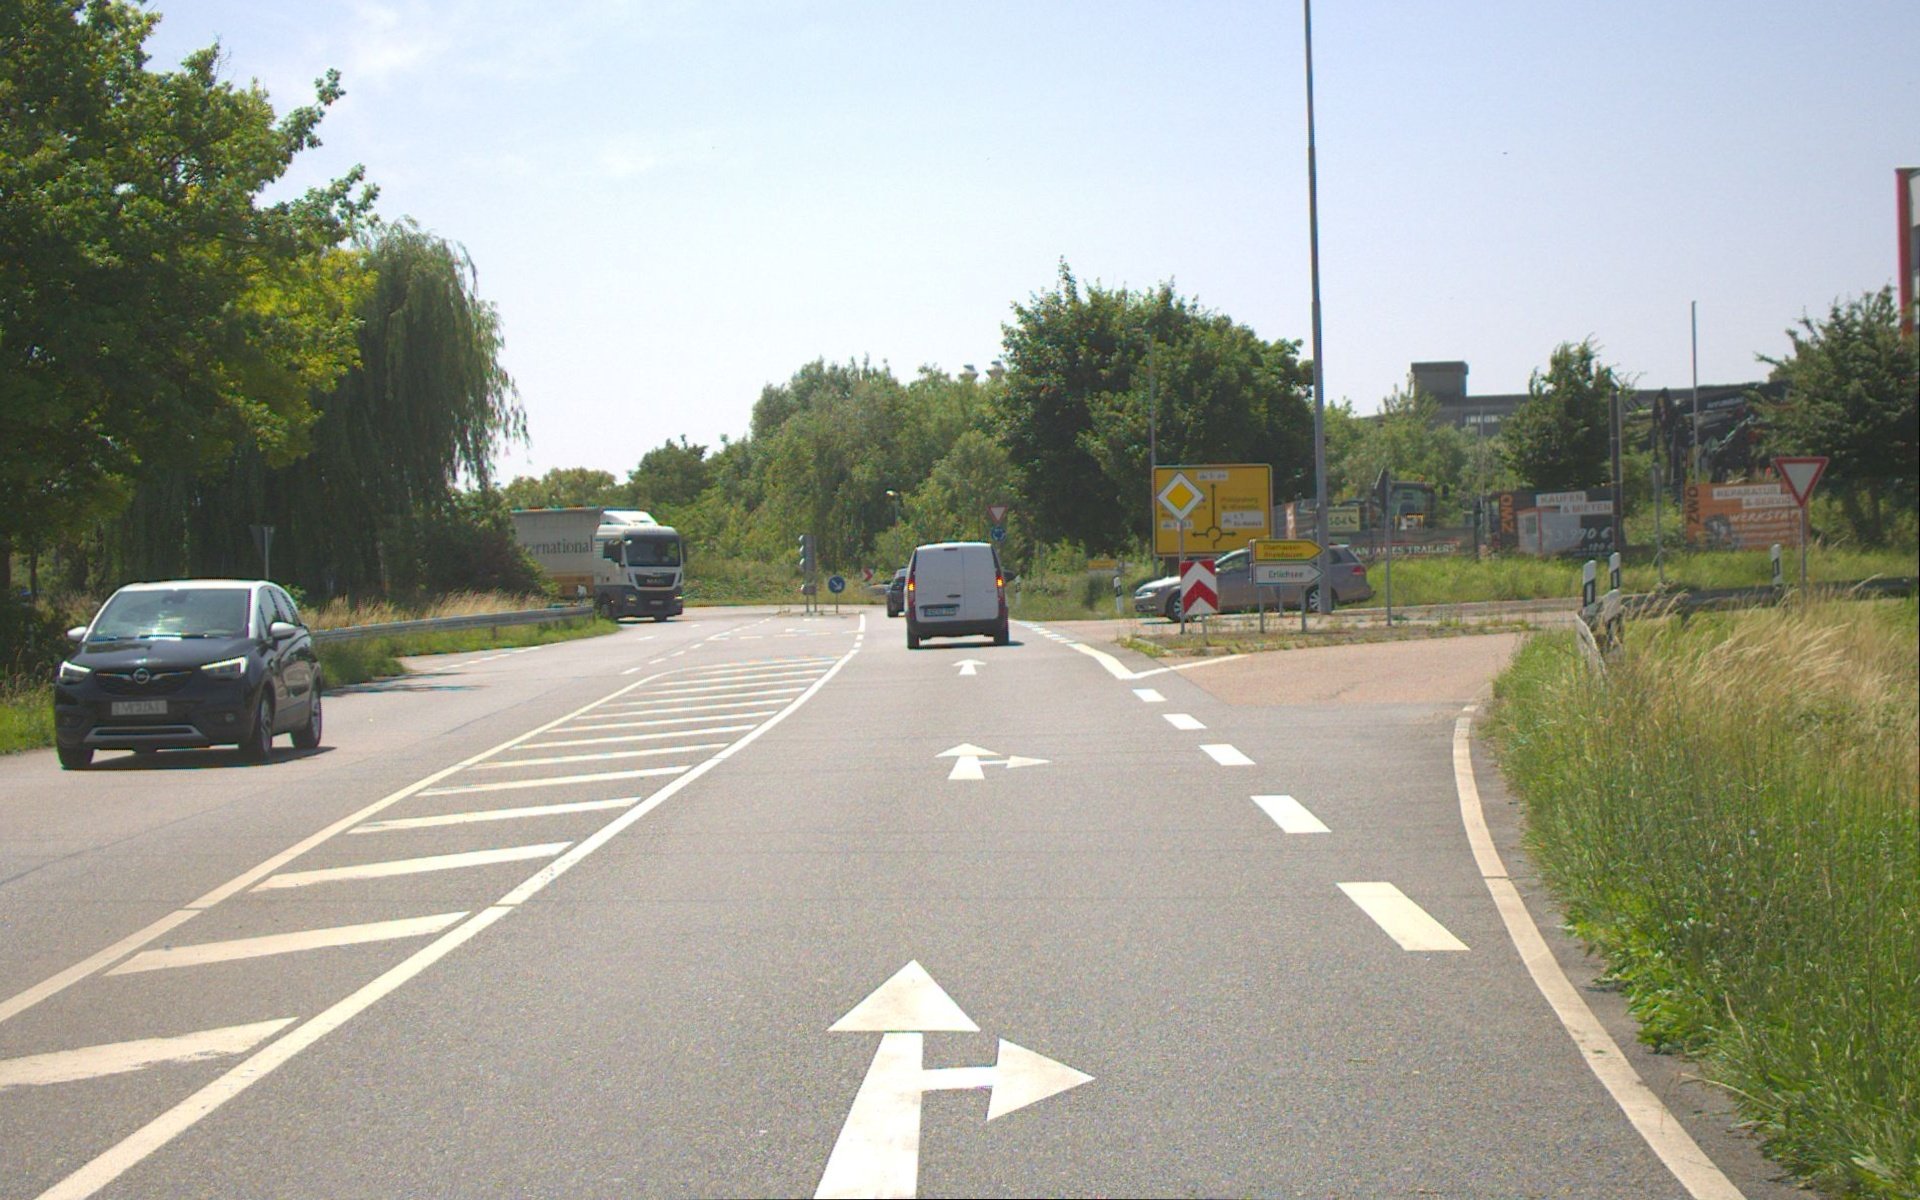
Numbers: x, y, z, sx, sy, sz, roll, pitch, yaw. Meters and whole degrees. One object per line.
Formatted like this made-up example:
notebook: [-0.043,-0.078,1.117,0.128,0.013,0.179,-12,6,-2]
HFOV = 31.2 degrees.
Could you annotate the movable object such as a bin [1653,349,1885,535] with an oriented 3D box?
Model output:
movable object such as a bin: [22.999,-4.463,97.998,5.919,5.088,3.108,0,-1,2]

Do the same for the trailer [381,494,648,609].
trailer: [-16.630,-1.823,126.993,2.791,4.042,13.497,-1,1,-41]

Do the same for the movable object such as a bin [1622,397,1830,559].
movable object such as a bin: [20.764,-3.278,93.388,5.085,4.260,2.834,0,-1,2]

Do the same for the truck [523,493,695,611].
truck: [-12.528,-1.721,122.187,2.791,4.042,6.751,-1,1,-40]

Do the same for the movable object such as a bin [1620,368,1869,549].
movable object such as a bin: [23.173,-4.146,101.896,6.591,5.130,3.806,0,-1,2]

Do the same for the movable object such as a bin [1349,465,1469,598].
movable object such as a bin: [11.577,-1.730,88.978,2.323,3.239,5.101,0,-1,-1]

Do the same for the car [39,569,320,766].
car: [-6.678,0.531,29.776,1.732,1.585,3.958,0,0,-3]

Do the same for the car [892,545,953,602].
car: [-1.159,-0.824,104.757,1.805,1.550,4.001,-2,2,-1]

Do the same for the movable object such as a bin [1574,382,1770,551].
movable object such as a bin: [22.920,-4.263,110.857,5.717,5.251,3.221,0,-1,2]

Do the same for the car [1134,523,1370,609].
car: [5.804,-0.680,68.698,4.511,1.503,1.914,-2,1,0]

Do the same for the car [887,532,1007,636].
car: [-0.259,-0.274,59.773,1.903,1.726,3.823,-1,0,-3]
